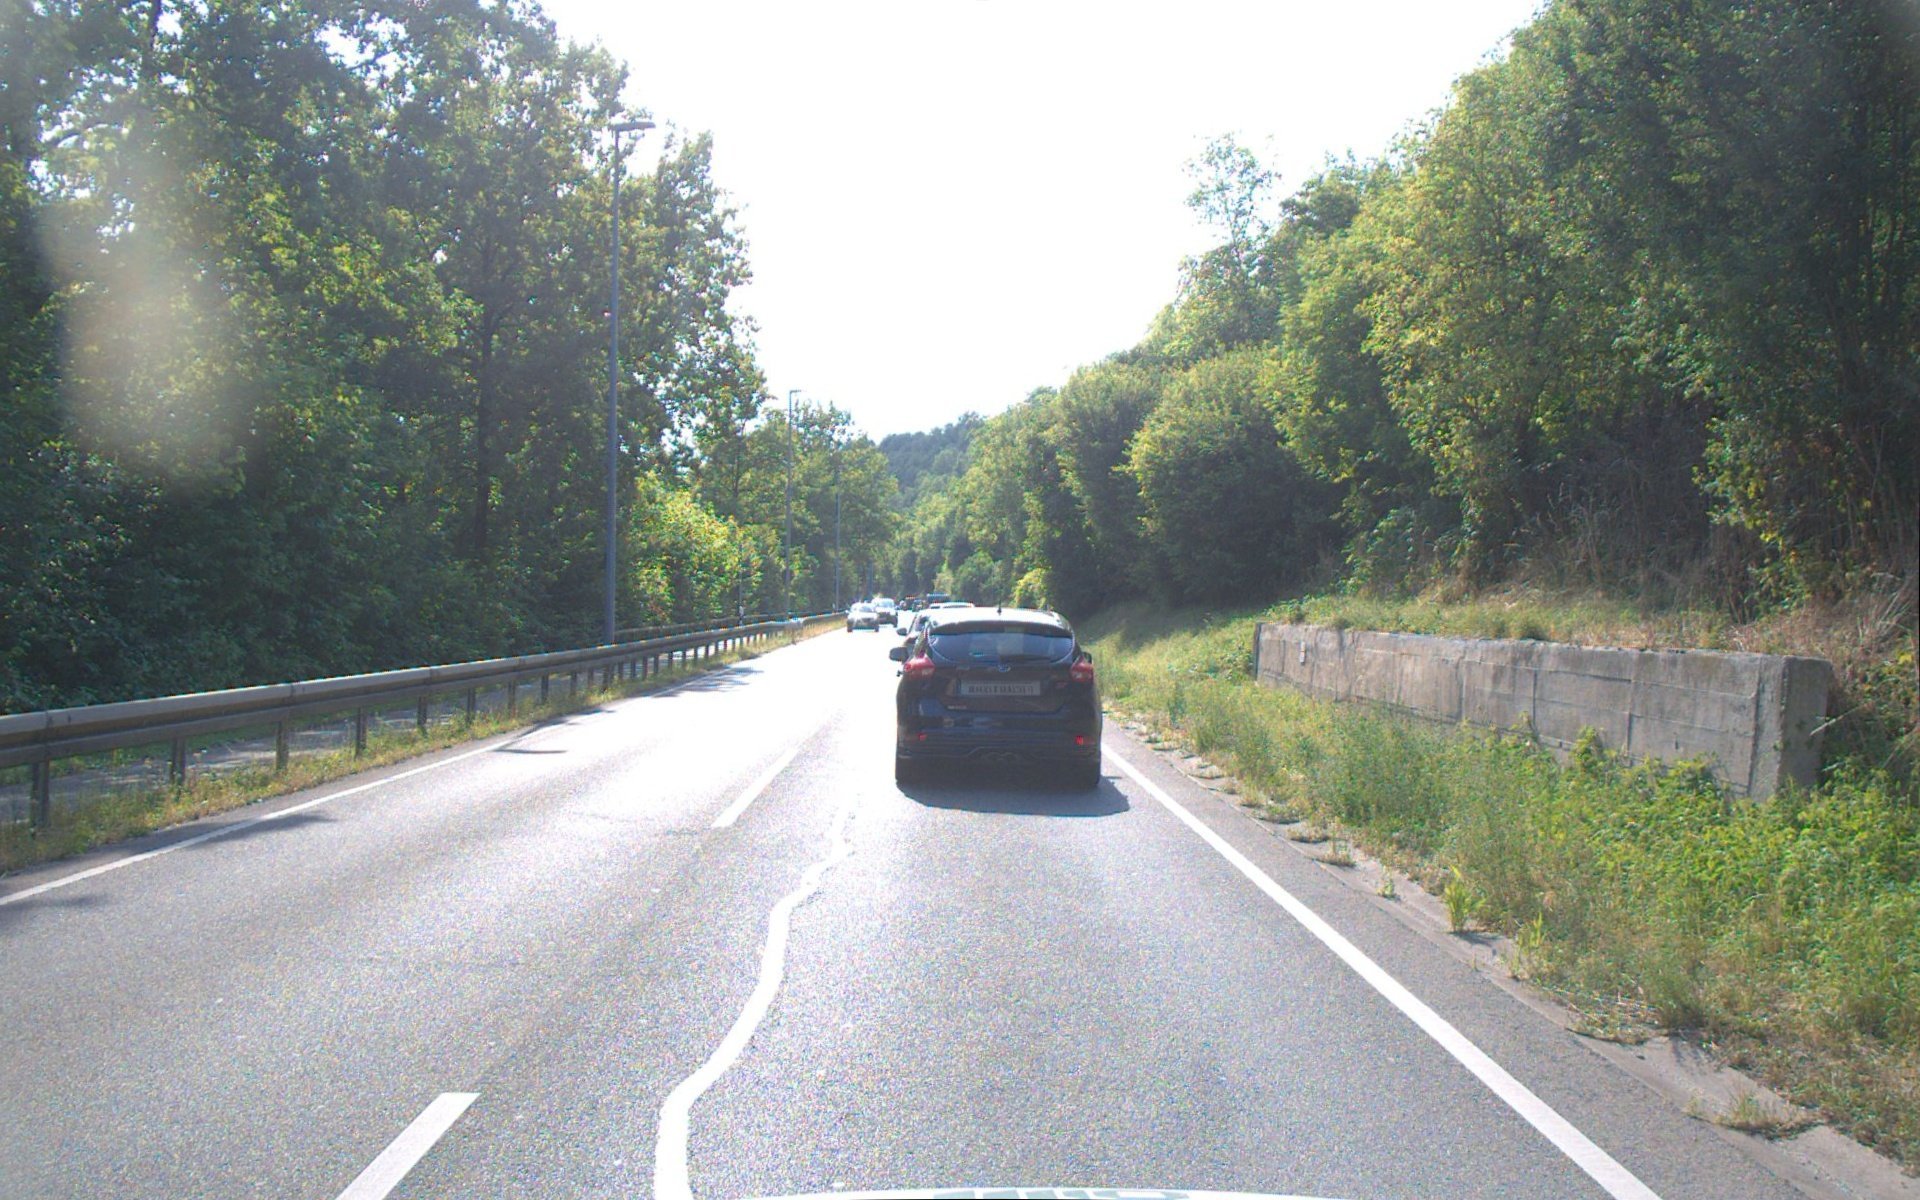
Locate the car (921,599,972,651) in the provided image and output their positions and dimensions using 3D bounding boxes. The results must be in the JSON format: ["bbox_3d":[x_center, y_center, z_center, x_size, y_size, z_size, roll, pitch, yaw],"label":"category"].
[{"bbox_3d":[-0.438,0.784,53.772,1.597,1.624,3.999,0,0,-1],"label":"car"}]

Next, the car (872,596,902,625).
[{"bbox_3d":[-4.436,0.627,101.258,1.712,1.747,4.220,0,0,-1],"label":"car"}]

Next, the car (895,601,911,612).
[{"bbox_3d":[-8.342,0.973,242.547,1.956,1.545,3.992,0,0,-8],"label":"car"}]

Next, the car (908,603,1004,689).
[{"bbox_3d":[-0.052,0.784,30.086,1.627,1.443,4.000,0,0,1],"label":"car"}]

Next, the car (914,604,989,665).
[{"bbox_3d":[-0.223,0.811,40.853,1.768,1.416,3.999,0,0,-1],"label":"car"}]

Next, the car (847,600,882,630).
[{"bbox_3d":[-4.943,0.773,85.646,1.647,1.467,3.999,0,0,-1],"label":"car"}]

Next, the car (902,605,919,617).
[{"bbox_3d":[-6.936,1.502,230.070,1.956,1.545,3.992,0,0,-8],"label":"car"}]

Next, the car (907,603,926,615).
[{"bbox_3d":[-5.490,1.107,208.840,1.956,1.545,3.992,0,0,-8],"label":"car"}]

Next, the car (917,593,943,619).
[{"bbox_3d":[-2.146,0.410,117.902,1.825,1.812,3.999,0,0,-1],"label":"car"}]

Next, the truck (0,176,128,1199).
[{"bbox_3d":[-3.200,0.226,1.495,2.016,2.427,5.872,0,0,-1],"label":"truck"}]

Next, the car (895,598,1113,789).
[{"bbox_3d":[0.322,0.752,15.059,1.704,1.482,3.999,1,0,-1],"label":"car"}]
